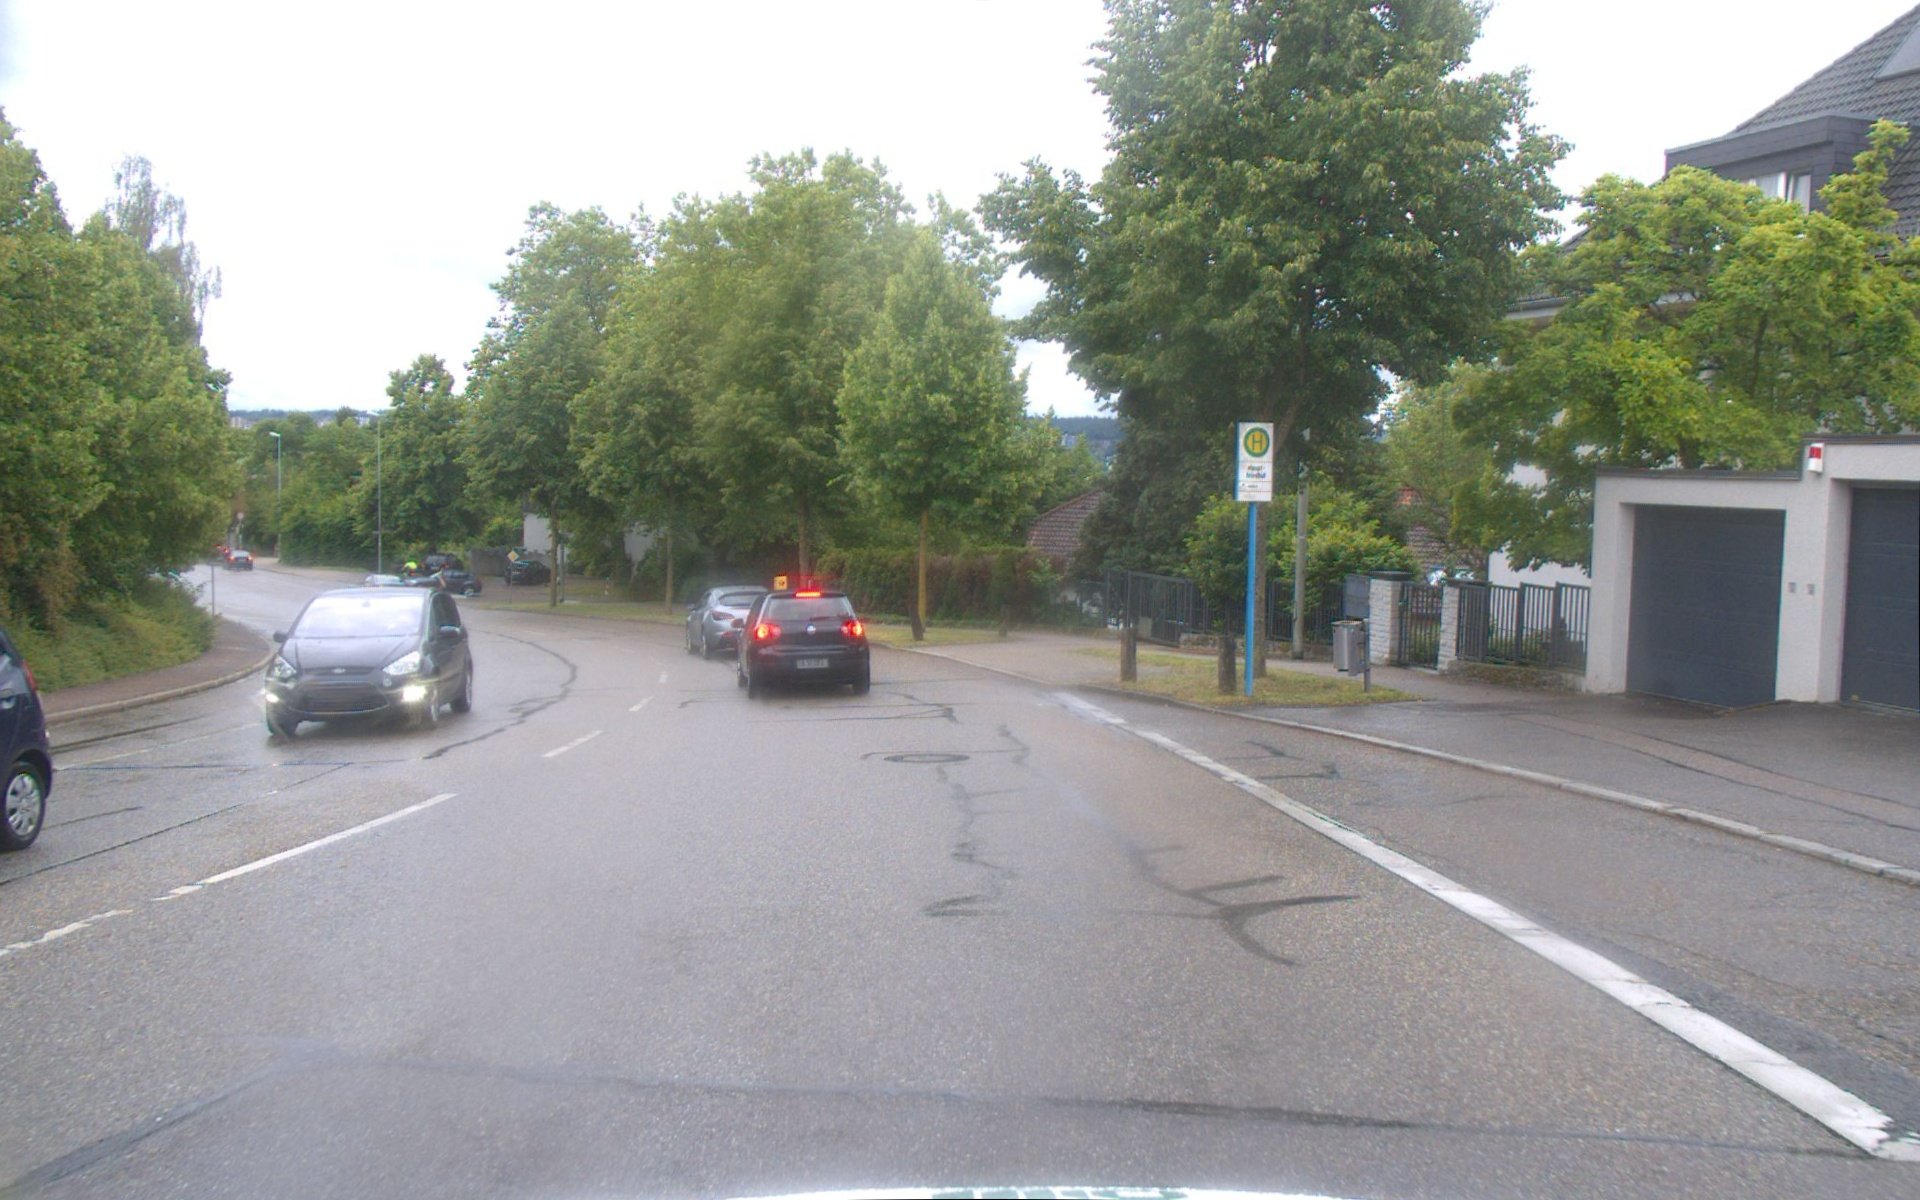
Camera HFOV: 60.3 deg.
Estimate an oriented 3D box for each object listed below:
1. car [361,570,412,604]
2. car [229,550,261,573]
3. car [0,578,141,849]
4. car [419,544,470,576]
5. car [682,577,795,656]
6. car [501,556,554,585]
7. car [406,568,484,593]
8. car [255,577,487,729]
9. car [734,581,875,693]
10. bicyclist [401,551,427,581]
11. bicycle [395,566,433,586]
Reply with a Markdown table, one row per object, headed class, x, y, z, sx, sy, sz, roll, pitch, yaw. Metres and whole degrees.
| class | x | y | z | sx | sy | sz | roll | pitch | yaw |
| --- | --- | --- | --- | --- | --- | --- | --- | --- | --- |
| car | -28.256 | -0.658 | 81.403 | 1.703 | 1.489 | 3.962 | 3 | 1 | -29 |
| car | -51.130 | -2.776 | 118.227 | 1.703 | 1.489 | 3.962 | 3 | 1 | -29 |
| car | -6.243 | 0.681 | 8.784 | 1.687 | 1.489 | 4.376 | 0 | 2 | -2 |
| car | -32.788 | -2.569 | 105.334 | 1.909 | 1.718 | 4.903 | 2 | 5 | -3 |
| car | -4.808 | 0.298 | 35.497 | 1.727 | 1.489 | 3.980 | -1 | 2 | -18 |
| car | -27.543 | -1.884 | 105.494 | 1.714 | 1.494 | 4.571 | 3 | 5 | 6 |
| car | -29.289 | -1.094 | 94.119 | 4.072 | 1.408 | 1.714 | 0 | 1 | -24 |
| car | -6.973 | 0.539 | 20.058 | 1.777 | 1.604 | 4.677 | 0 | 1 | -9 |
| car | -2.356 | 0.478 | 24.284 | 1.691 | 1.489 | 3.990 | 0 | 1 | -11 |
| bicyclist | -32.637 | -2.008 | 98.889 | 1.254 | 1.786 | 0.855 | 0 | 1 | 5 |
| bicycle | -32.634 | -1.462 | 98.891 | 1.988 | 1.175 | 0.855 | 0 | 1 | 5 |
